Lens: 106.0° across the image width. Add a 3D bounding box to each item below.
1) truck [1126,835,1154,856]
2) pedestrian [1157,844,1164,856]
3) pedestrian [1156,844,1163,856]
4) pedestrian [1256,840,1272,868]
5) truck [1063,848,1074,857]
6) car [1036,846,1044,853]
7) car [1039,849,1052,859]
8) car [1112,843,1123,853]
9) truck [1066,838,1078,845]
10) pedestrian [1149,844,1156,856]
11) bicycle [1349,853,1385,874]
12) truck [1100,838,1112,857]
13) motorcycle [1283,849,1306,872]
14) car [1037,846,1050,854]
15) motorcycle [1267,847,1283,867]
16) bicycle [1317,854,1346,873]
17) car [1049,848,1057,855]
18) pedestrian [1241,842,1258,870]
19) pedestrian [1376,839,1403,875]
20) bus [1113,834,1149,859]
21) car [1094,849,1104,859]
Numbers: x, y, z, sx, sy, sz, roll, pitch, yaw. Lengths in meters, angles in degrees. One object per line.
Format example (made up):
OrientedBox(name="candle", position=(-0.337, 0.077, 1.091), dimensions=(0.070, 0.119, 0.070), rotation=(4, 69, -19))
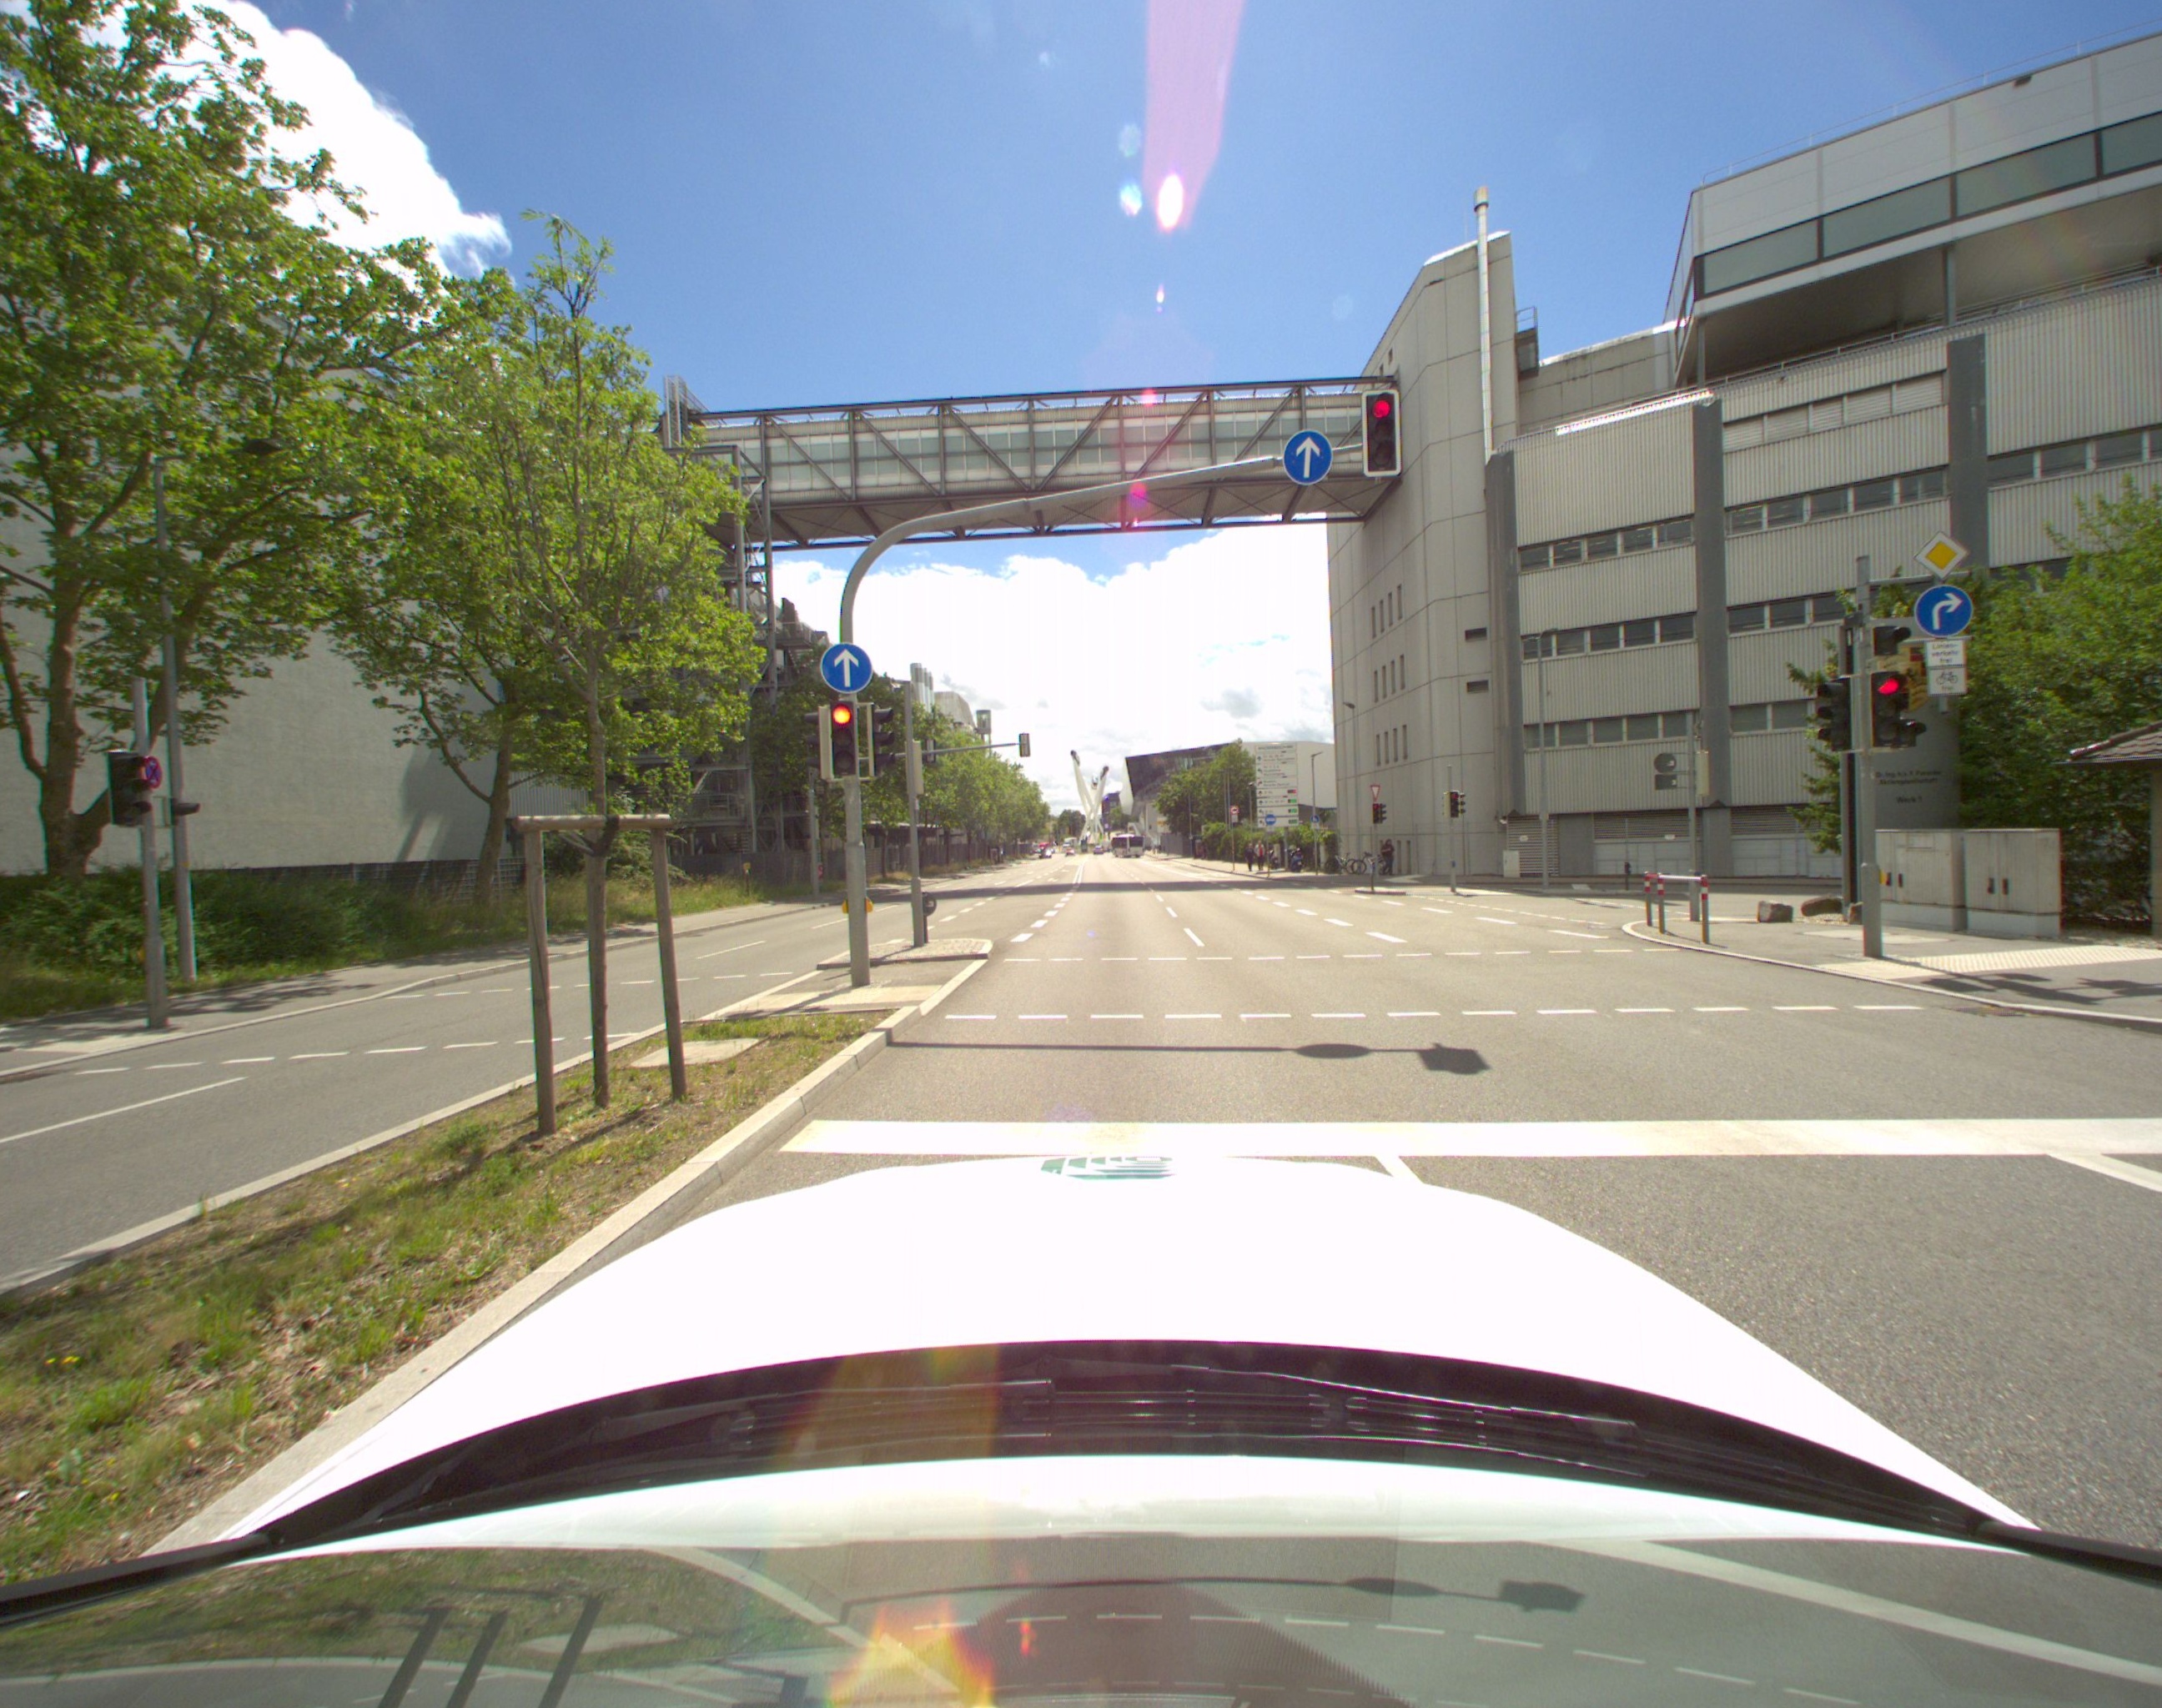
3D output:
OrientedBox(name="truck", position=(12.522, -1.767, 171.629), dimensions=(3.424, 4.391, 9.466), rotation=(-1, 0, 19))
OrientedBox(name="pedestrian", position=(13.546, -0.662, 138.907), dimensions=(1.026, 2.014, 0.884), rotation=(0, -1, -2))
OrientedBox(name="pedestrian", position=(13.331, -0.657, 137.957), dimensions=(1.026, 2.014, 0.884), rotation=(0, -1, -2))
OrientedBox(name="pedestrian", position=(11.288, 0.011, 50.351), dimensions=(0.817, 1.741, 0.637), rotation=(-1, 0, 1))
OrientedBox(name="truck", position=(-2.205, -0.200, 142.690), dimensions=(1.580, 1.537, 3.673), rotation=(-1, 0, -4))
OrientedBox(name="car", position=(-9.928, -1.026, 197.102), dimensions=(1.813, 1.537, 3.678), rotation=(-3, 0, 0))
OrientedBox(name="car", position=(-5.918, -0.022, 136.695), dimensions=(1.813, 1.537, 3.678), rotation=(-3, 0, 0))
OrientedBox(name="car", position=(7.416, -1.234, 165.672), dimensions=(1.984, 2.014, 4.006), rotation=(-1, -1, 6))
OrientedBox(name="truck", position=(-2.678, -3.557, 237.043), dimensions=(1.744, 2.013, 4.469), rotation=(-1, 0, 24))
OrientedBox(name="pedestrian", position=(12.129, -0.690, 138.154), dimensions=(1.026, 2.014, 0.884), rotation=(0, -1, -2))
OrientedBox(name="bicycle", position=(13.485, 0.455, 38.499), dimensions=(0.399, 0.937, 1.913), rotation=(-1, 0, -24))
OrientedBox(name="truck", position=(5.309, -1.341, 172.258), dimensions=(2.383, 3.897, 6.180), rotation=(-1, 0, 2))
OrientedBox(name="motorcycle", position=(11.709, 0.329, 44.757), dimensions=(0.703, 1.203, 2.025), rotation=(-3, 1, 2))
OrientedBox(name="car", position=(-10.023, -1.012, 218.770), dimensions=(1.976, 2.013, 4.022), rotation=(-1, 0, 22))
OrientedBox(name="motorcycle", position=(12.531, 0.204, 52.603), dimensions=(0.572, 1.203, 2.025), rotation=(-3, 1, 2))
OrientedBox(name="bicycle", position=(12.542, 0.456, 40.811), dimensions=(0.398, 0.937, 1.917), rotation=(-1, 0, -17))
OrientedBox(name="car", position=(-6.554, -0.505, 188.687), dimensions=(1.814, 1.537, 3.675), rotation=(-3, 0, -2))
OrientedBox(name="pedestrian", position=(10.415, 0.096, 50.355), dimensions=(0.817, 1.707, 0.881), rotation=(-1, 0, 1))
OrientedBox(name="pedestrian", position=(14.120, 0.139, 37.282), dimensions=(0.839, 1.624, 0.962), rotation=(-1, 0, 43))
OrientedBox(name="bus", position=(7.376, -1.020, 121.698), dimensions=(3.449, 3.543, 10.581), rotation=(-1, 0, -7))
OrientedBox(name="car", position=(3.288, -0.046, 148.864), dimensions=(1.732, 1.741, 3.693), rotation=(-1, 0, 2))
